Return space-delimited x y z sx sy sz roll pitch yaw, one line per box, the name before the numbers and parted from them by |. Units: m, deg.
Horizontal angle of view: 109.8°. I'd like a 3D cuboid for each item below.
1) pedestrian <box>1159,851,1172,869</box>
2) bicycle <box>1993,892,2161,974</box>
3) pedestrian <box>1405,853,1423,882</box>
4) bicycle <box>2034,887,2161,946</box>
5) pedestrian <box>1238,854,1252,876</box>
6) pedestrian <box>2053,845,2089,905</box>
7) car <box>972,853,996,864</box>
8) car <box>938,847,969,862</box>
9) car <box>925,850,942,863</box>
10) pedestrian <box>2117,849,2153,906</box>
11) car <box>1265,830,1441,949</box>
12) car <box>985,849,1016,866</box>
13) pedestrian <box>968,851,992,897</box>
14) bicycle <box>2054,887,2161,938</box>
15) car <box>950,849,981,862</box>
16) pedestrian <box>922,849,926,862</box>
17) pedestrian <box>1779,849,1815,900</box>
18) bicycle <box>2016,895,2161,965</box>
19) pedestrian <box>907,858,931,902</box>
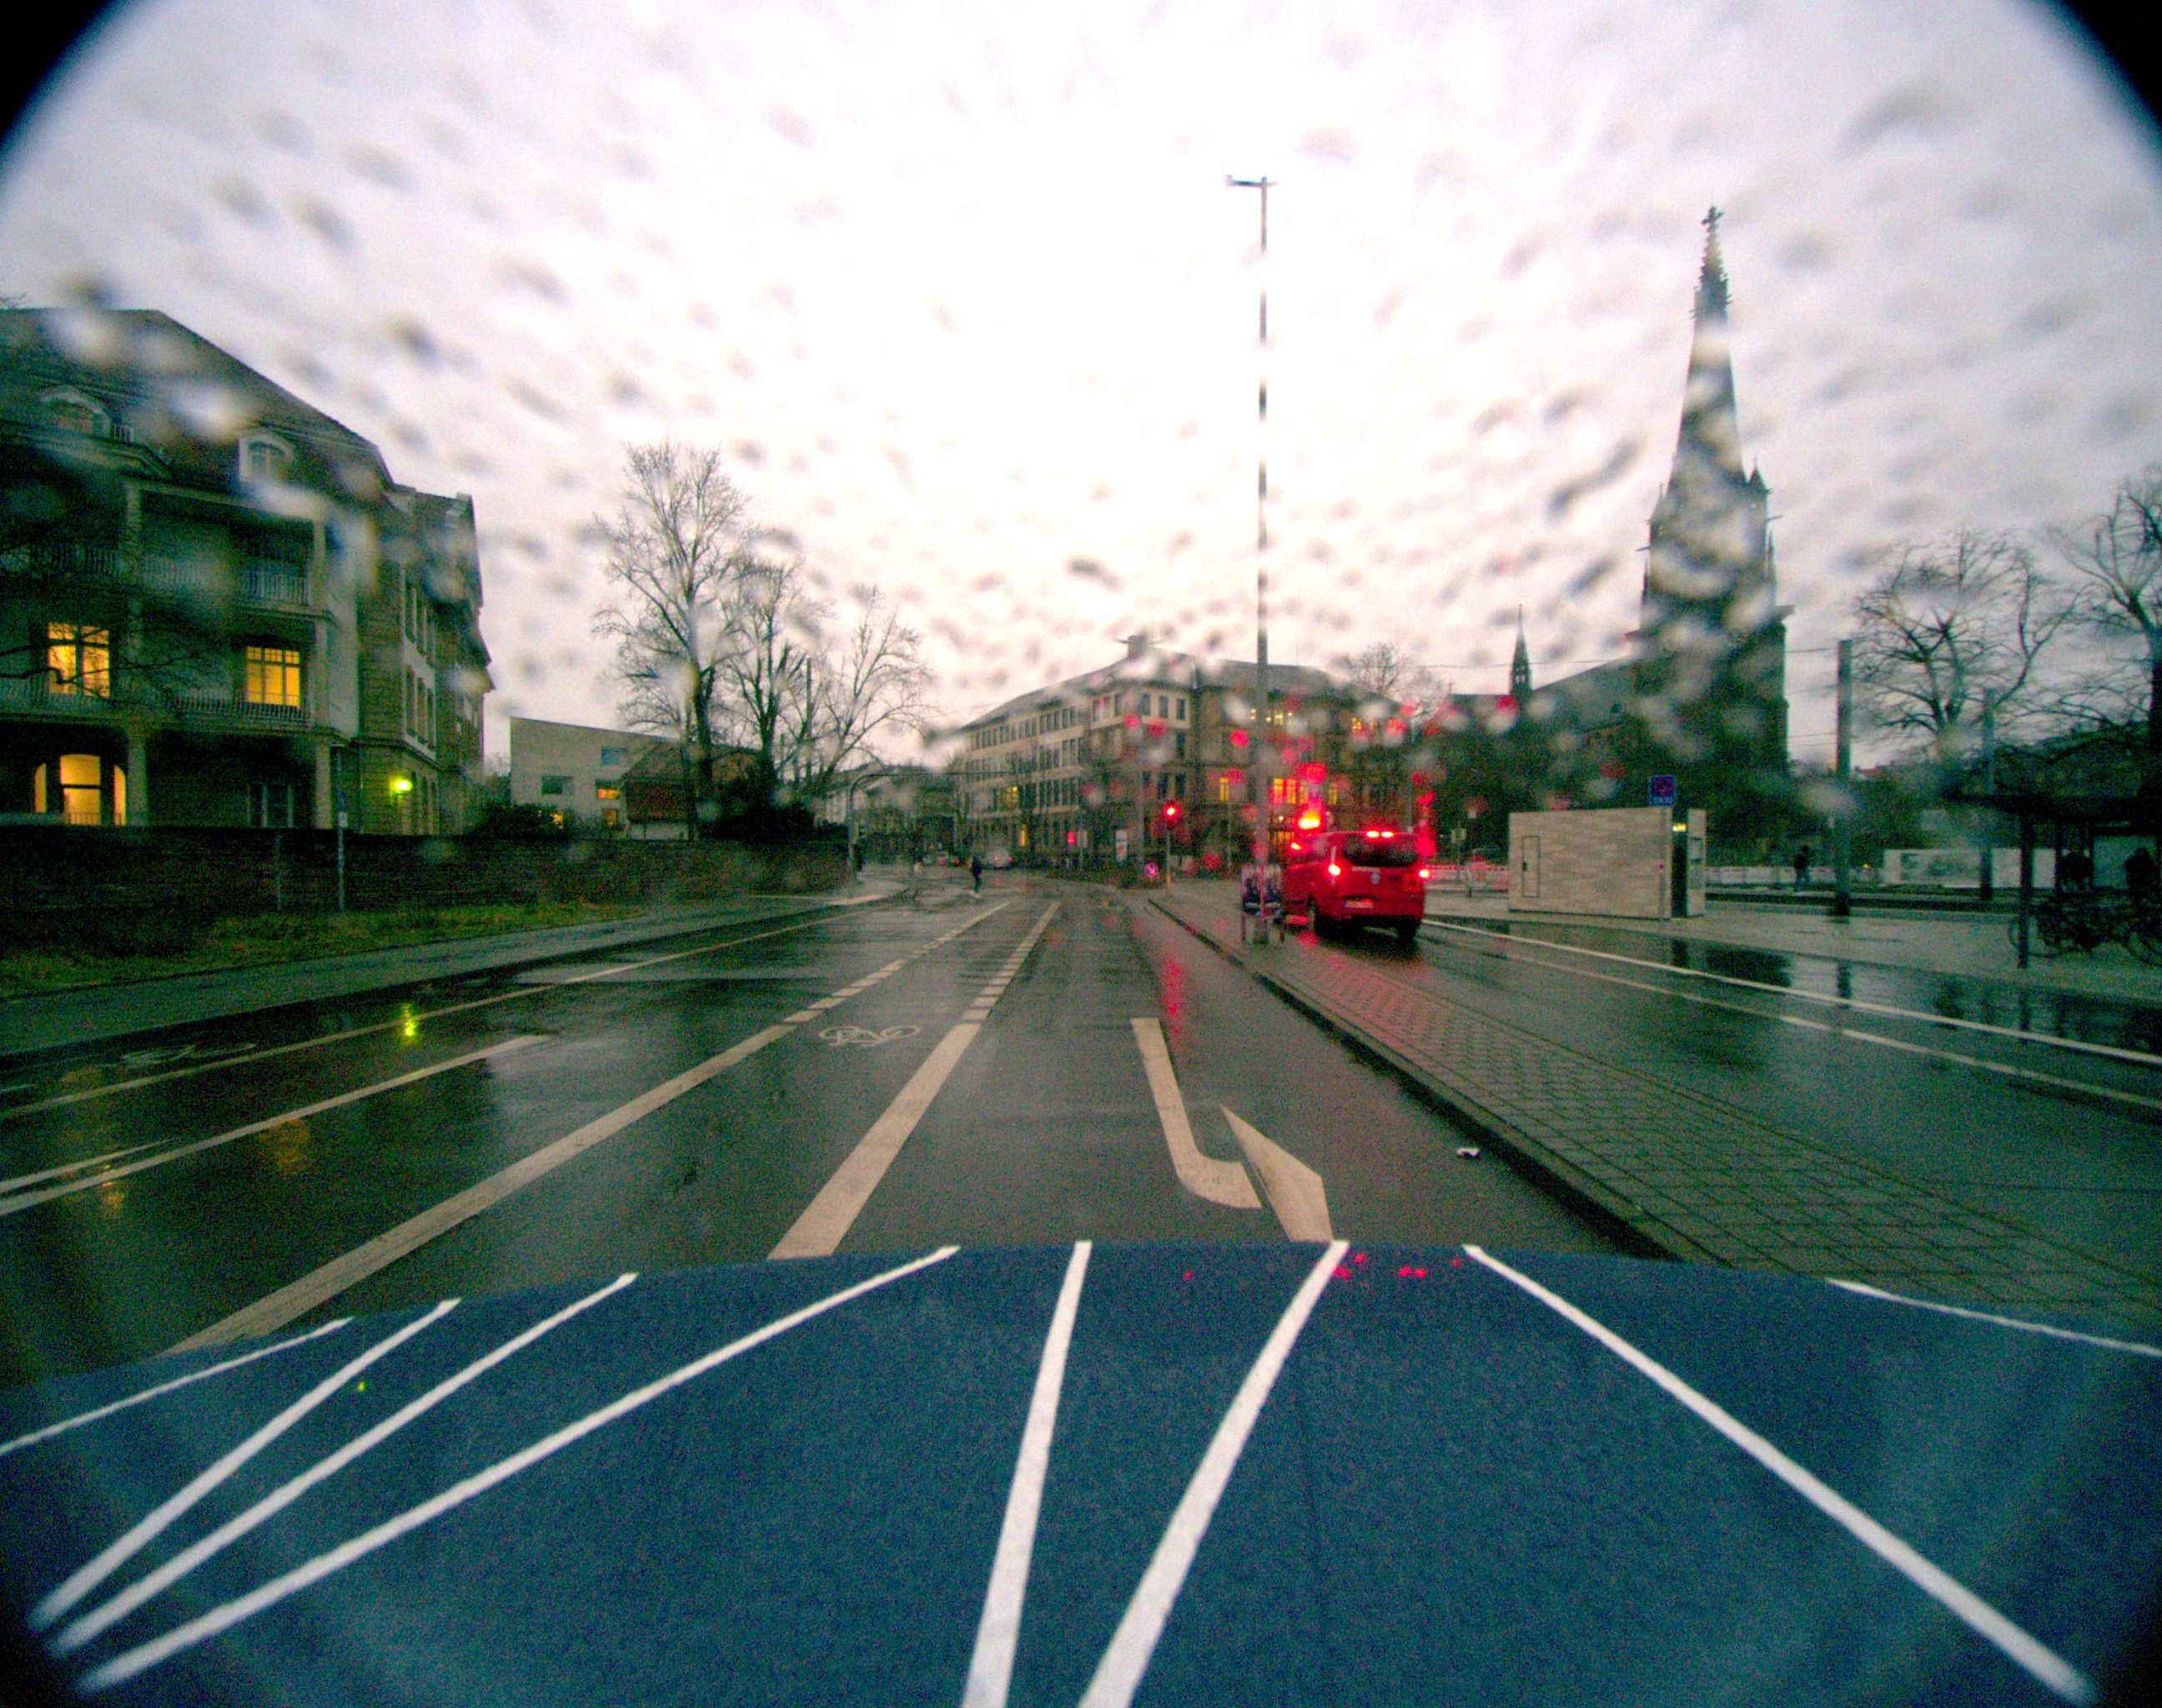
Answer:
pedestrian | 8.116 0.603 72.988 0.829 1.714 0.926 0 0 -37
bicycle | 15.491 1.181 11.607 0.475 1.064 1.921 -2 2 -30
pedestrian | 20.103 0.805 45.952 0.772 1.651 1.209 -2 1 14
bicycle | 19.684 1.169 14.423 0.475 0.980 1.921 -2 2 -30
pedestrian | 13.237 0.885 61.400 0.675 1.806 0.895 0 2 -42
pedestrian | 30.228 0.643 23.210 0.673 1.785 0.626 -3 2 -41
car | -12.137 0.571 95.305 1.706 1.298 3.647 -2 1 16
car | -16.998 0.071 101.469 2.043 1.889 4.007 -2 1 28
car | -20.738 0.366 106.844 2.000 1.660 3.997 -2 1 -7
pedestrian | 31.041 0.692 22.381 0.541 1.642 0.562 -3 2 -41
car | 5.370 0.624 15.749 1.929 2.058 4.643 1 0 0
car | -8.958 0.395 84.340 1.887 1.835 3.991 -3 1 -29
pedestrian | -4.242 0.844 31.918 1.000 1.890 0.673 1 1 -8
bicycle | 20.840 1.161 15.013 0.475 0.905 1.921 -2 2 -30
car | -15.094 0.195 99.404 1.797 1.541 4.007 -2 1 28
pedestrian | -23.623 0.252 114.394 0.476 2.002 0.546 0 1 -34
pedestrian | 26.195 0.745 27.807 0.671 1.785 0.825 -3 1 -36
bicycle | 16.609 1.214 12.212 0.475 0.980 1.921 -2 2 -30
pedestrian | -6.424 1.034 30.130 0.798 1.713 0.674 1 1 -3
